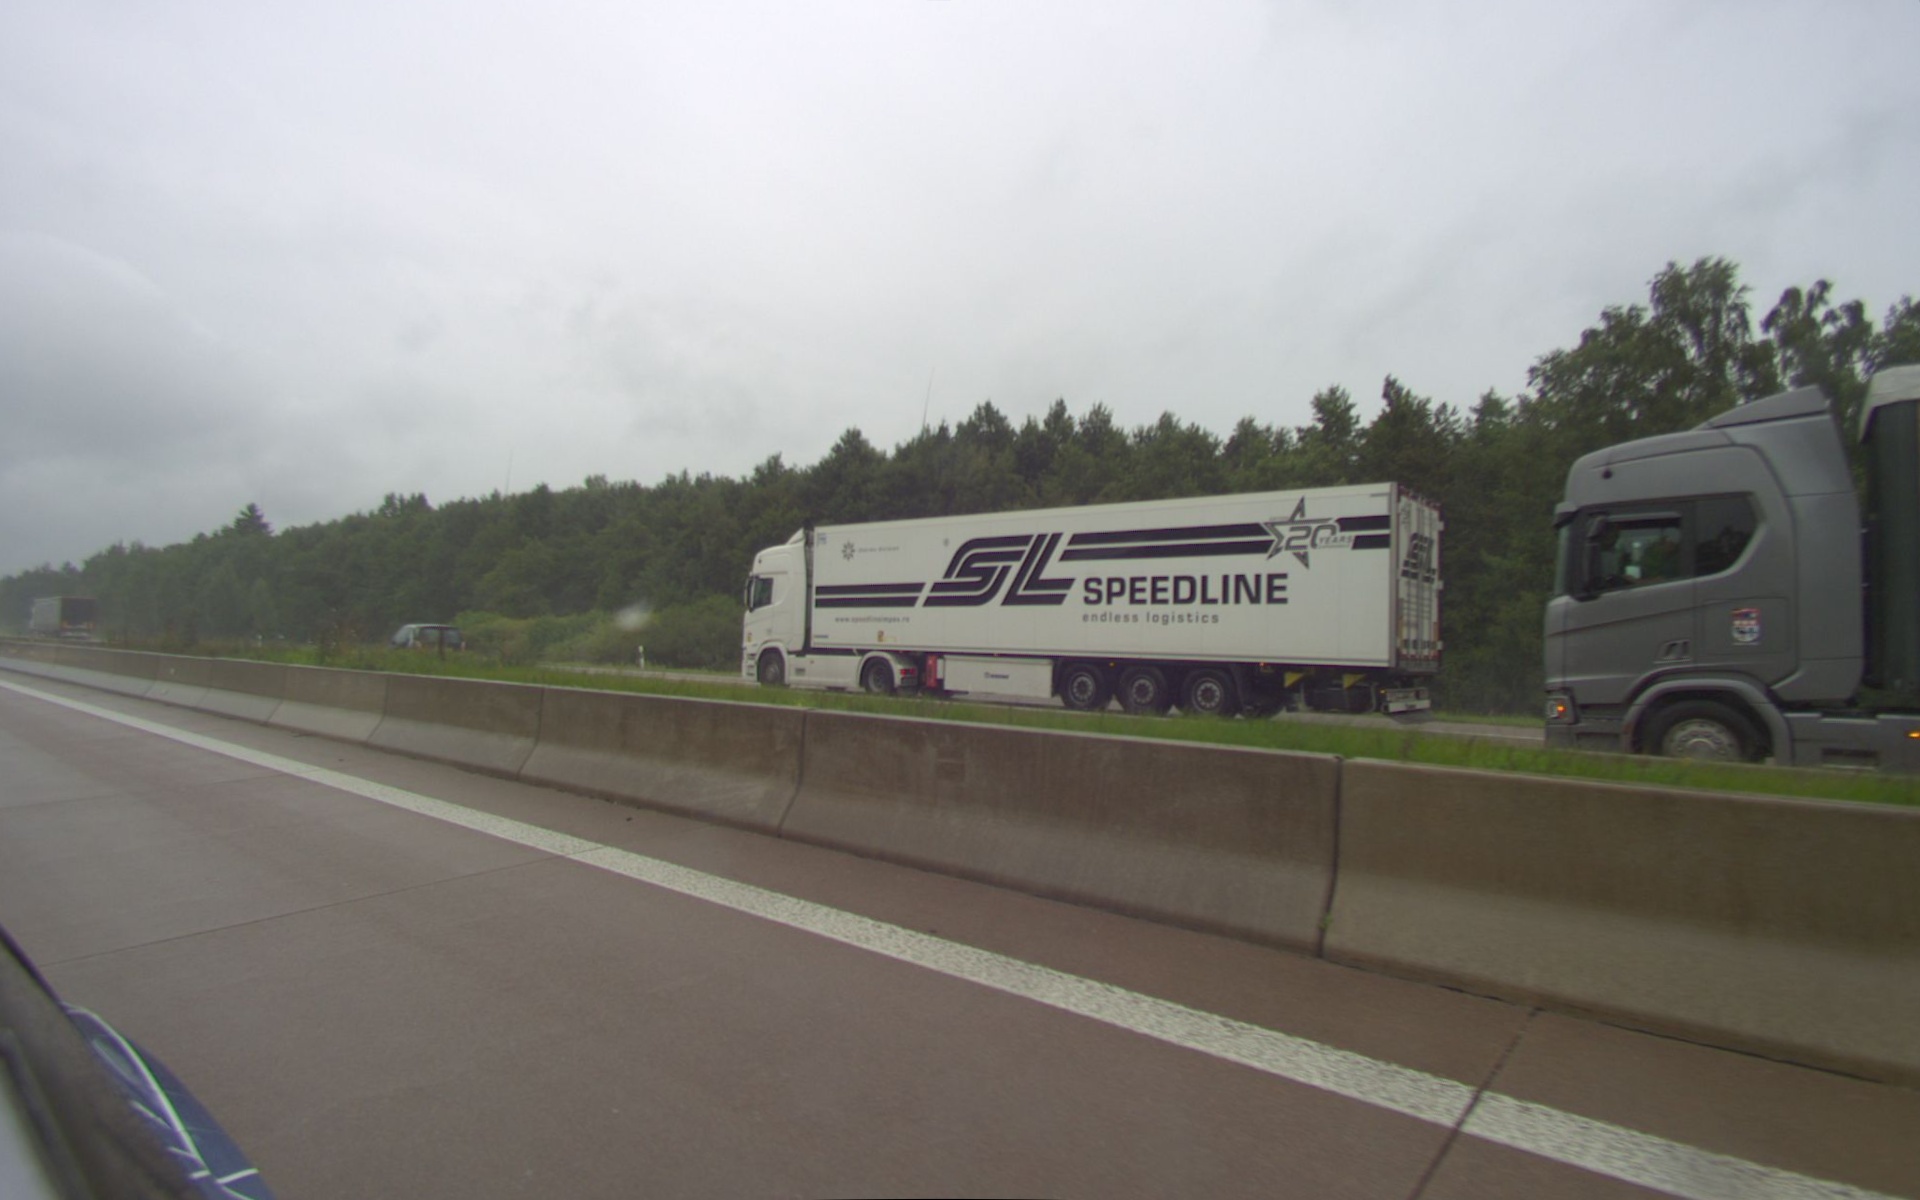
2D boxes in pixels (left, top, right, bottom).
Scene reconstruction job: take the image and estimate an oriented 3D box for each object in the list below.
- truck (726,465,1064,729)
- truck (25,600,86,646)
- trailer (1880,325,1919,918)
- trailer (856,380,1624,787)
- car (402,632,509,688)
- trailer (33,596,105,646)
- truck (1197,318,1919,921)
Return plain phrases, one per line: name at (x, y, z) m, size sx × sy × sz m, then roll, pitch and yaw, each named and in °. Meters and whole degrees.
truck at (-1.822, -0.020, 24.739) m, size 8.152 × 5.419 × 3.384 m, roll -1°, pitch 0°, yaw 40°
truck at (-90.010, 2.386, 100.687) m, size 7.941 × 4.393 × 3.384 m, roll -2°, pitch -3°, yaw 40°
trailer at (14.694, 0.144, 5.381) m, size 14.224 × 5.097 × 3.951 m, roll -1°, pitch 0°, yaw 40°
trailer at (4.144, -0.139, 19.606) m, size 14.228 × 5.482 × 3.395 m, roll -1°, pitch 0°, yaw 41°
car at (-13.089, 1.519, 26.197) m, size 3.082 × 1.367 × 1.401 m, roll -2°, pitch -3°, yaw 41°
trailer at (-84.544, 2.101, 95.949) m, size 12.438 × 4.500 × 3.394 m, roll -2°, pitch -3°, yaw 41°
truck at (7.669, 0.180, 11.345) m, size 8.946 × 5.052 × 3.885 m, roll -1°, pitch 0°, yaw 40°
